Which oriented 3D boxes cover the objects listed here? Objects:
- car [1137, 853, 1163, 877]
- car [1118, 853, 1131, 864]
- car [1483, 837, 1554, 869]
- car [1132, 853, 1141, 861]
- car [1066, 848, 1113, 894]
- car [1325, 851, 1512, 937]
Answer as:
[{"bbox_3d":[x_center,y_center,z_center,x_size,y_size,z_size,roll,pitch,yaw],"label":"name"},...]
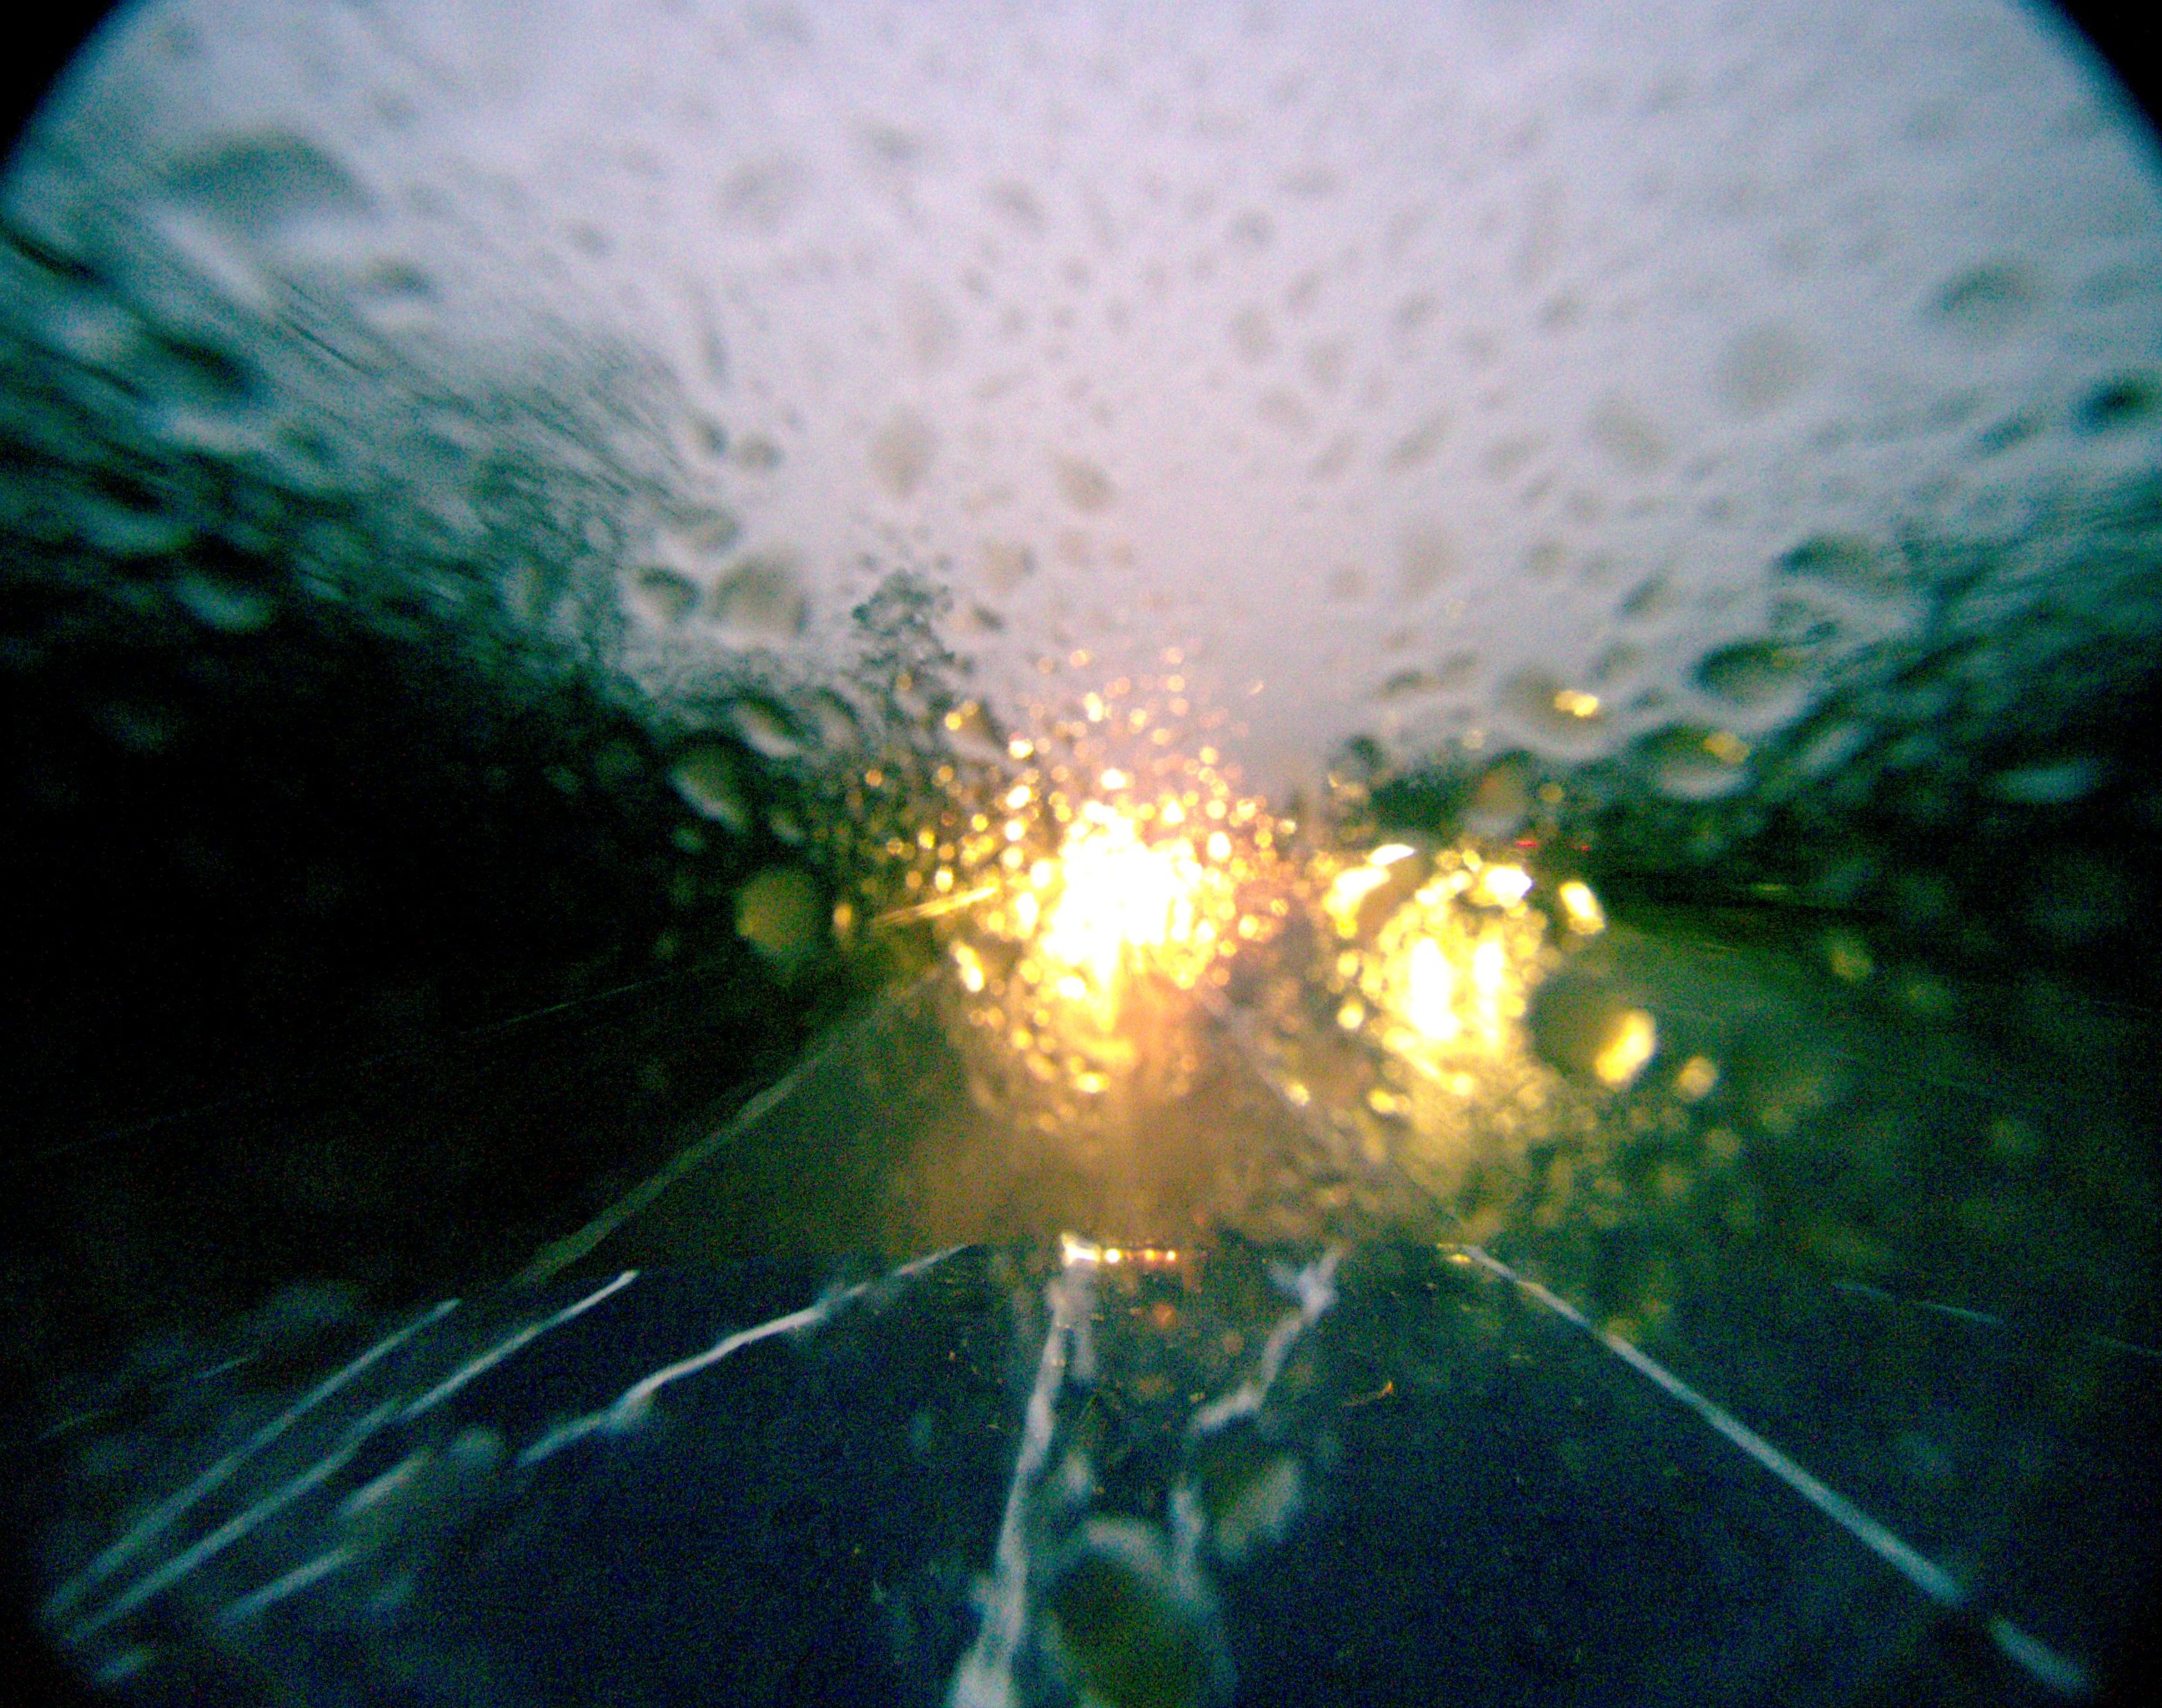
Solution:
[{"bbox_3d":[4.796,0.813,53.202,1.653,1.502,3.877,4,-2,5],"label":"car"},{"bbox_3d":[5.461,0.516,94.566,1.482,1.198,3.350,-3,0,5],"label":"car"},{"bbox_3d":[22.819,-0.071,39.816,1.746,1.478,4.002,-3,0,7],"label":"car"},{"bbox_3d":[9.932,0.522,135.114,1.482,1.198,3.350,-3,0,3],"label":"car"},{"bbox_3d":[0.473,0.746,35.326,1.998,2.002,3.964,-1,0,3],"label":"car"},{"bbox_3d":[6.837,0.733,15.974,1.803,1.459,4.413,-3,0,-2],"label":"car"}]
